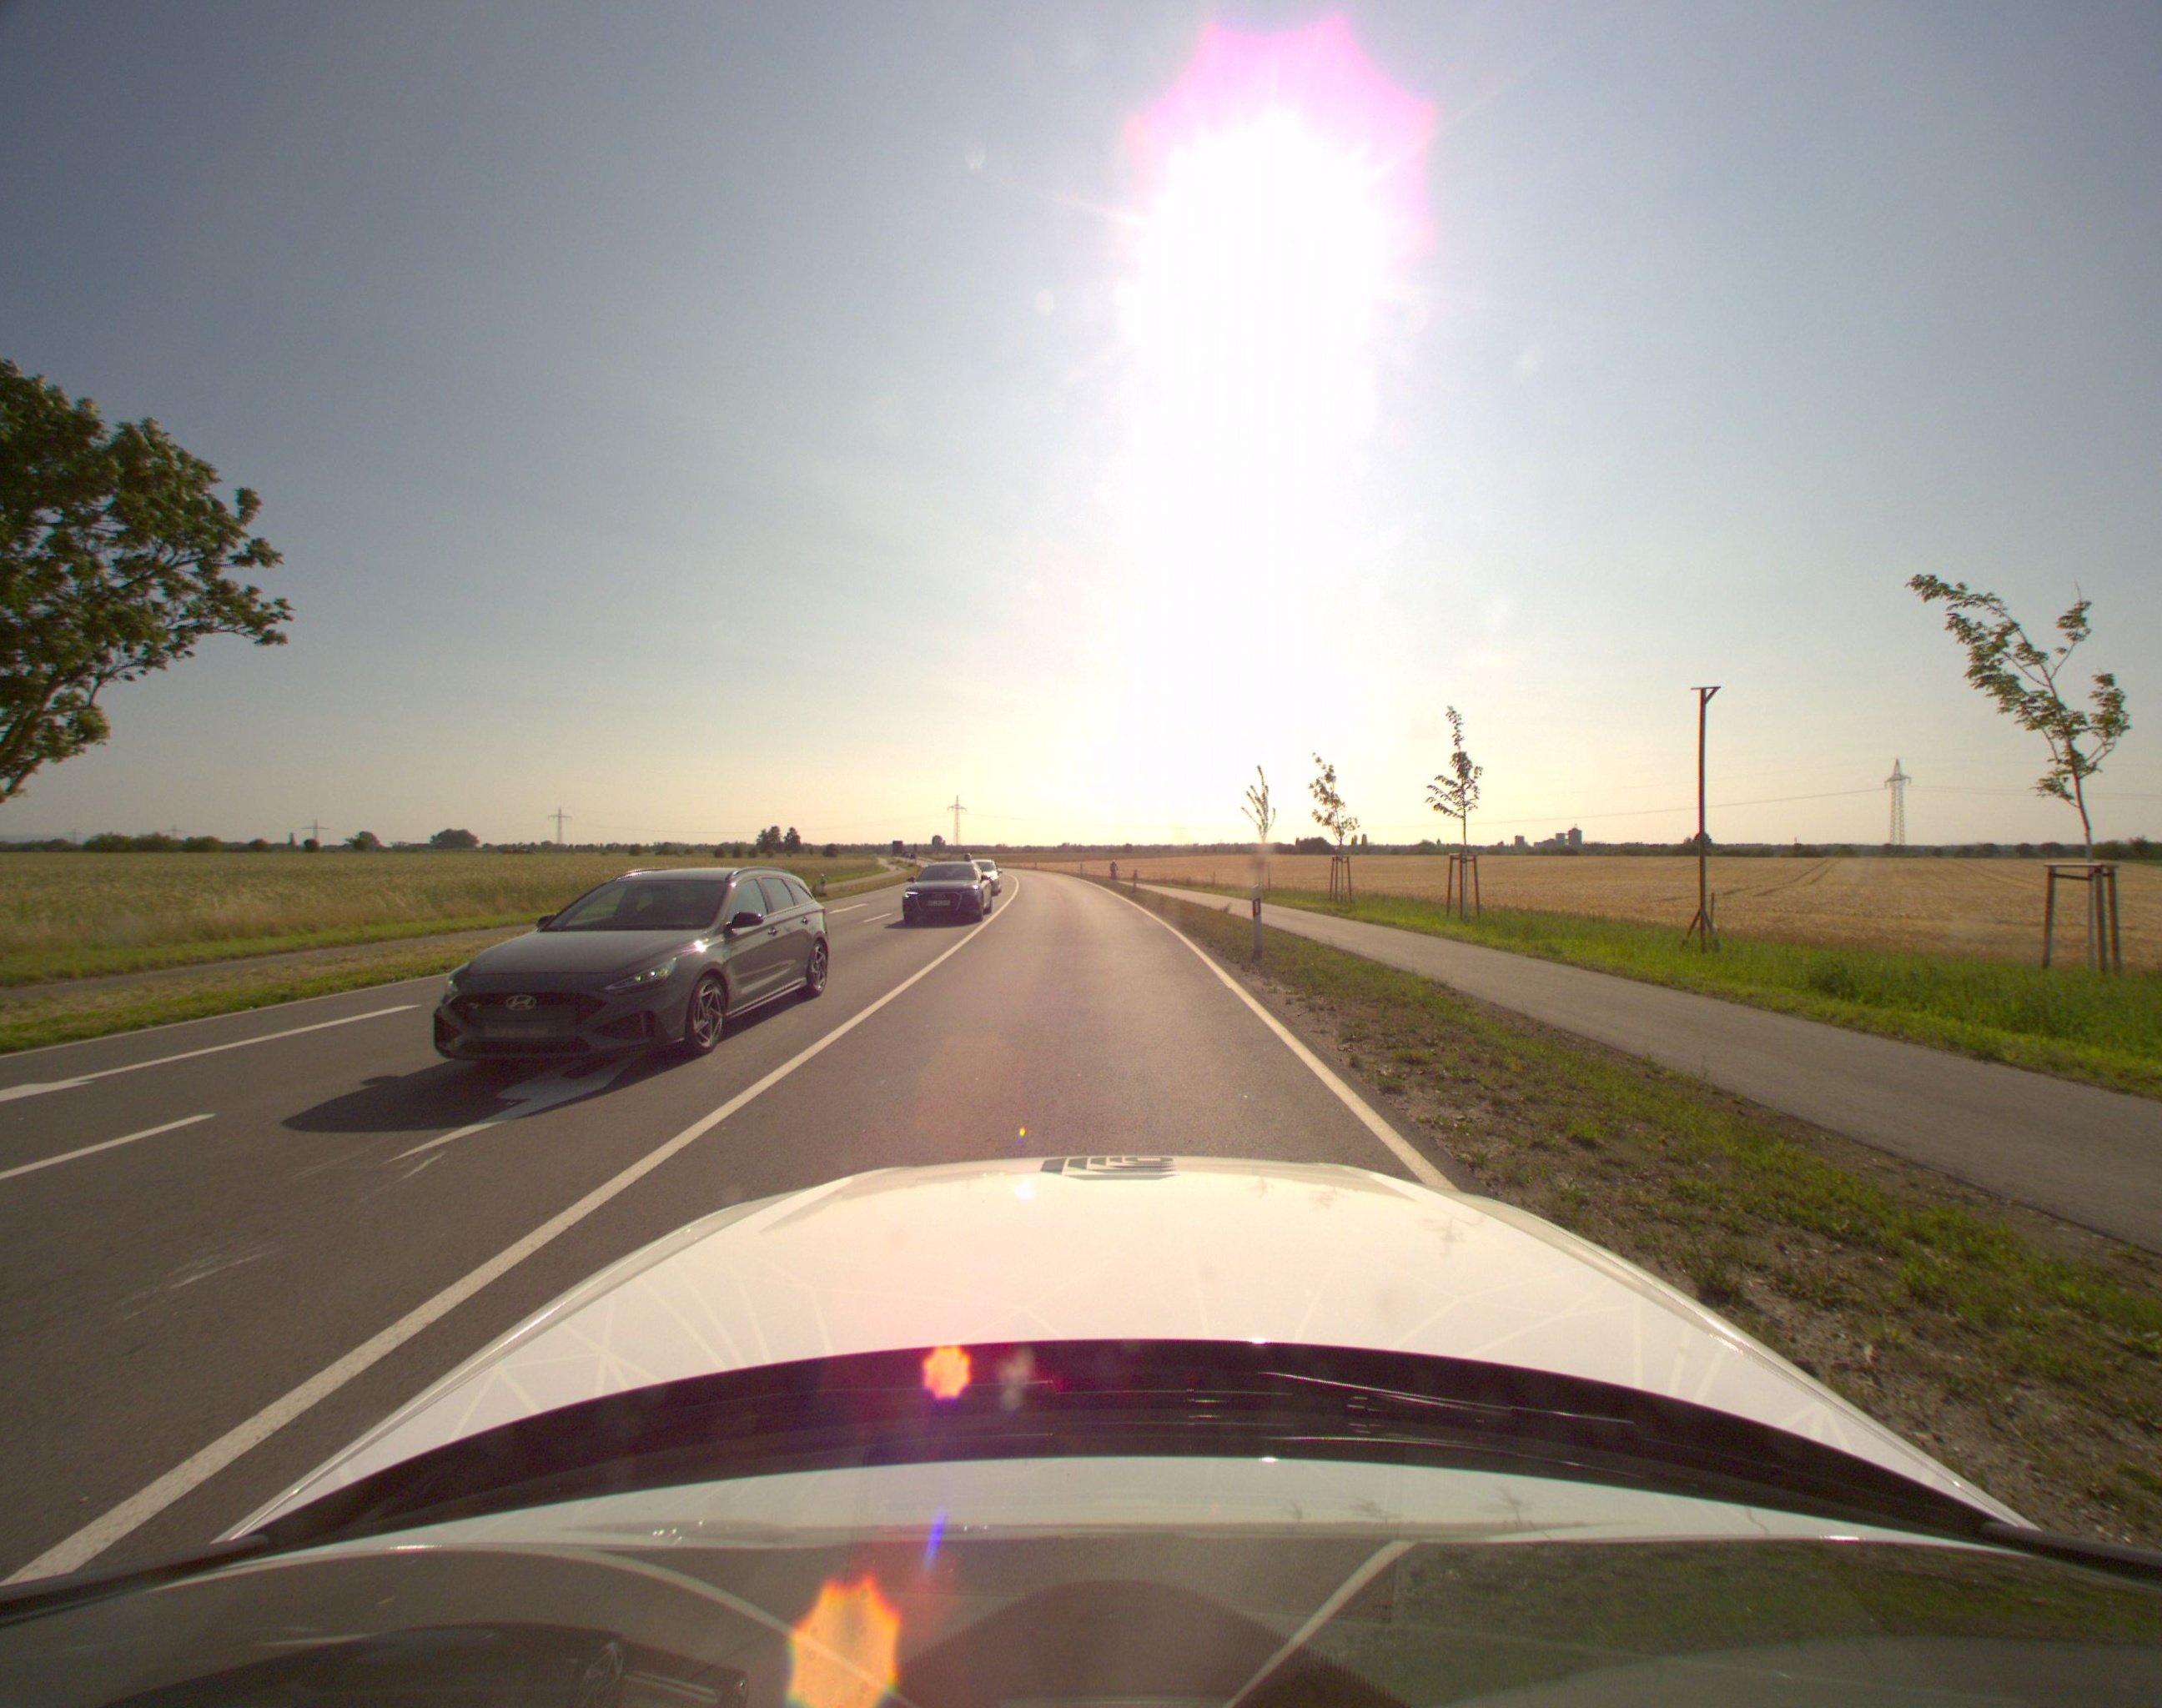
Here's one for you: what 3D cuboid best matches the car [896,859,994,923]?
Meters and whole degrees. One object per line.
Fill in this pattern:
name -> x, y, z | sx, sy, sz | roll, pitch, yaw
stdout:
car -> -3.353, 0.864, 20.993 | 1.885, 1.436, 4.792 | -1, 0, -2

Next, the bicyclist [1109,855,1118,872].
bicyclist -> 2.750, 0.796, 69.305 | 0.637, 1.457, 0.814 | 2, -1, -9

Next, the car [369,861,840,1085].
car -> -3.878, 0.825, 7.696 | 1.884, 1.461, 4.305 | -1, 0, 0

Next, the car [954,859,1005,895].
car -> -4.256, 0.924, 34.604 | 1.681, 1.403, 3.998 | -1, 0, -1

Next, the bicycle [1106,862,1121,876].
bicycle -> 2.721, 1.247, 69.317 | 0.845, 1.142, 2.199 | 2, -1, -9

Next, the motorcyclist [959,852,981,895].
motorcyclist -> -3.982, 0.697, 29.295 | 0.675, 1.495, 0.847 | -1, 0, 0
